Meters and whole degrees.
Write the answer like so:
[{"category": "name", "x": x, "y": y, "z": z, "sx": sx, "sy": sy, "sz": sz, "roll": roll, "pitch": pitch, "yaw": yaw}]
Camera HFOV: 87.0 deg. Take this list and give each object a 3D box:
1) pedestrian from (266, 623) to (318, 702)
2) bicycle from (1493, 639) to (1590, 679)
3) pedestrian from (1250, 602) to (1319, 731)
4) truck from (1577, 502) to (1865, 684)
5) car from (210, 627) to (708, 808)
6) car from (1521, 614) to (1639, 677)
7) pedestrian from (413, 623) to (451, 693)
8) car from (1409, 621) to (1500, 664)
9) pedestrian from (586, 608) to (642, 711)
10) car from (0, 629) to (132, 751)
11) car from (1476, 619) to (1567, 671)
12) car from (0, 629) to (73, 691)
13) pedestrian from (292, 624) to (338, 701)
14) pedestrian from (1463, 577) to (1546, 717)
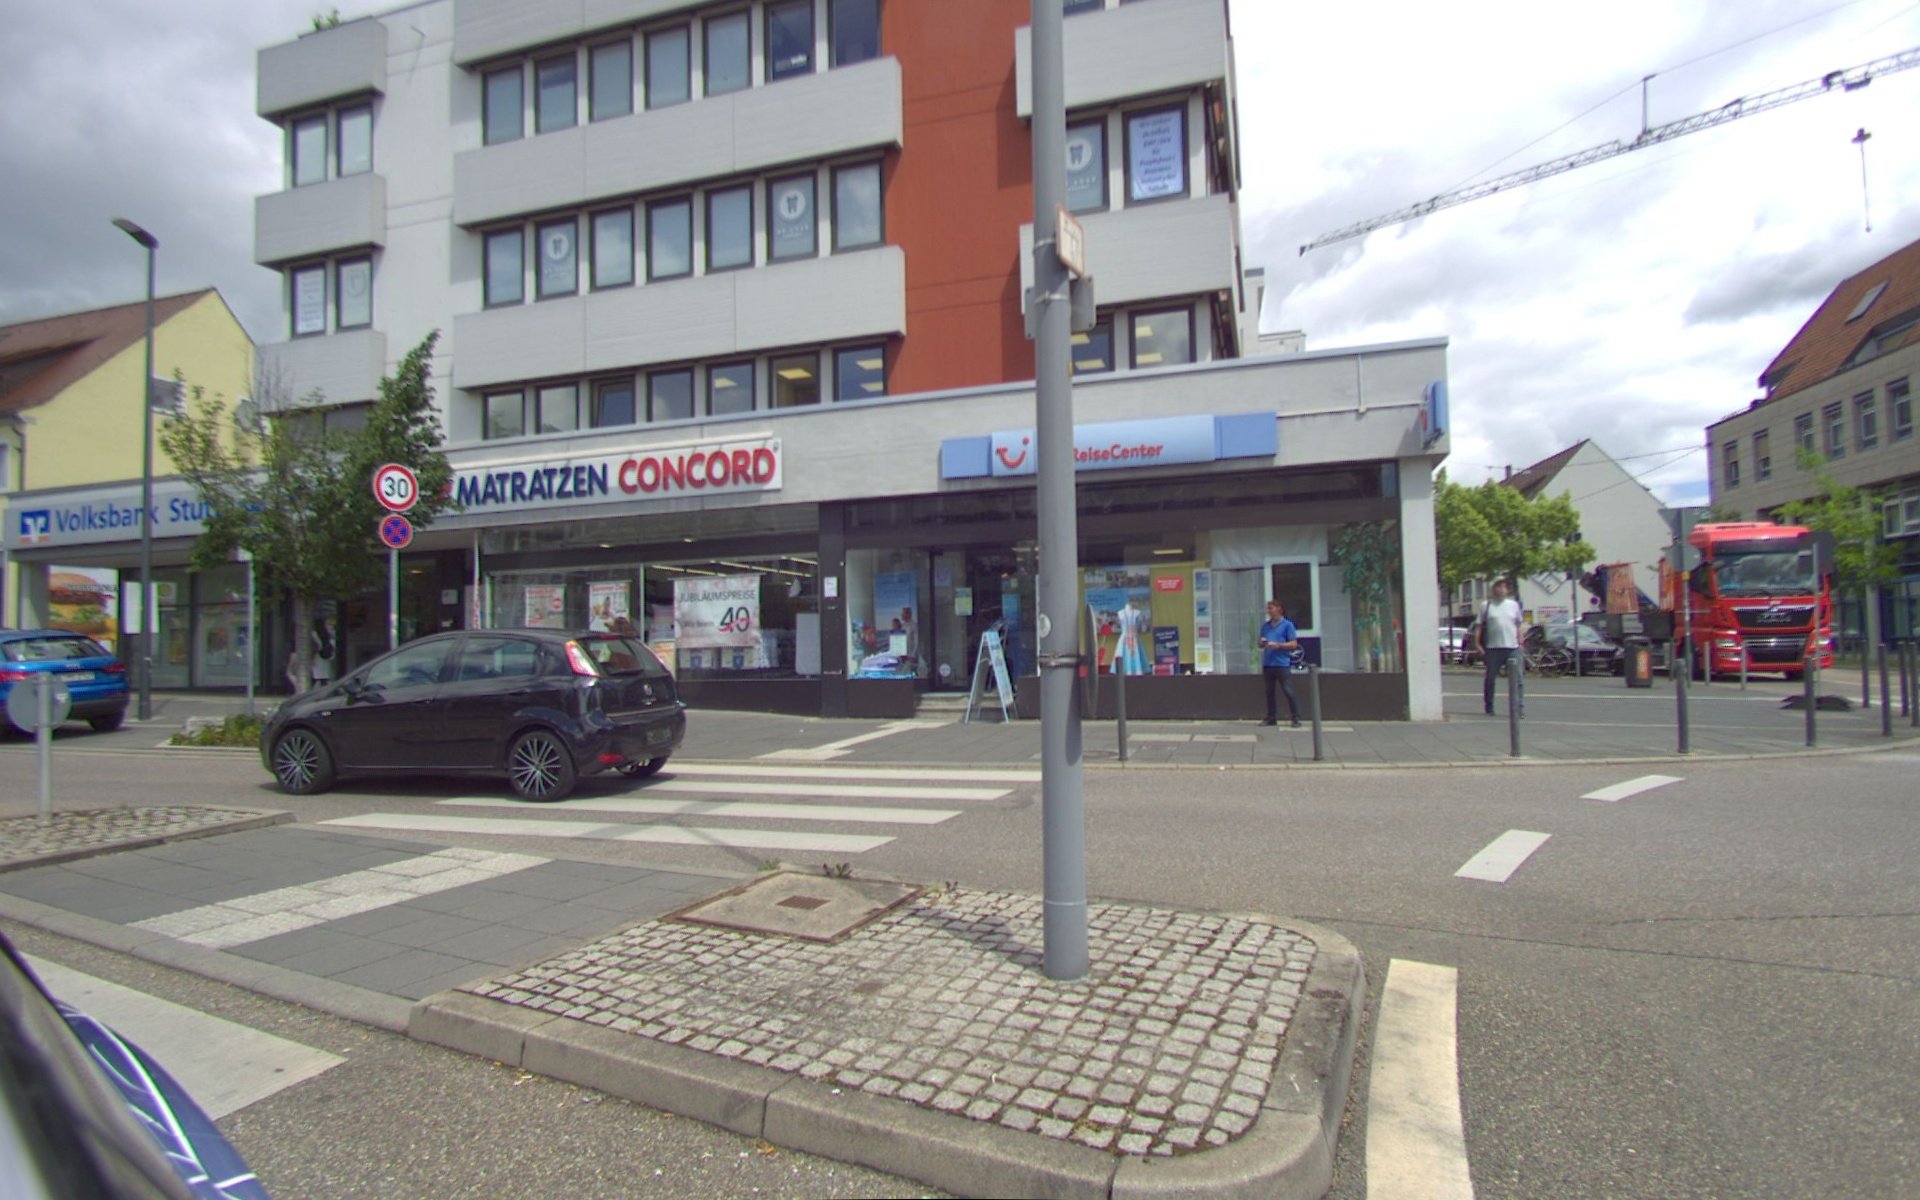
[{"category": "pedestrian", "x": -13.550, "y": 1.265, "z": 20.524, "sx": 0.584, "sy": 1.578, "sz": 0.638, "roll": -2, "pitch": -4, "yaw": 31}, {"category": "bicycle", "x": 14.629, "y": 1.483, "z": 25.503, "sx": 2.050, "sy": 0.953, "sz": 0.518, "roll": 0, "pitch": -2, "yaw": 20}, {"category": "pedestrian", "x": 4.217, "y": 0.848, "z": 13.171, "sx": 0.596, "sy": 1.616, "sz": 0.570, "roll": 1, "pitch": -3, "yaw": -36}, {"category": "truck", "x": 20.274, "y": -0.010, "z": 28.015, "sx": 2.942, "sy": 4.058, "sz": 10.534, "roll": 0, "pitch": -2, "yaw": 17}, {"category": "car", "x": -4.597, "y": 0.971, "z": 9.443, "sx": 4.080, "sy": 1.430, "sz": 1.696, "roll": 0, "pitch": -1, "yaw": 15}, {"category": "car", "x": 17.106, "y": 1.213, "z": 28.153, "sx": 1.849, "sy": 1.593, "sz": 4.348, "roll": 0, "pitch": -2, "yaw": 19}, {"category": "pedestrian", "x": -13.356, "y": 1.470, "z": 25.634, "sx": 0.580, "sy": 1.718, "sz": 0.643, "roll": -2, "pitch": -4, "yaw": 9}, {"category": "car", "x": 19.528, "y": 1.647, "z": 40.184, "sx": 1.841, "sy": 1.578, "sz": 4.367, "roll": 0, "pitch": -1, "yaw": 6}, {"category": "pedestrian", "x": -5.477, "y": 0.932, "z": 16.036, "sx": 0.633, "sy": 1.600, "sz": 0.585, "roll": -1, "pitch": -2, "yaw": 17}, {"category": "car", "x": -14.851, "y": 1.274, "z": 15.354, "sx": 4.301, "sy": 1.611, "sz": 1.688, "roll": -1, "pitch": 0, "yaw": 22}, {"category": "car", "x": 18.518, "y": 1.460, "z": 33.558, "sx": 1.849, "sy": 1.593, "sz": 4.348, "roll": 0, "pitch": -2, "yaw": 19}, {"category": "car", "x": -25.359, "y": 1.534, "z": 25.939, "sx": 1.654, "sy": 1.570, "sz": 3.618, "roll": 0, "pitch": -2, "yaw": 17}, {"category": "pedestrian", "x": -13.457, "y": 1.296, "z": 21.134, "sx": 0.582, "sy": 1.578, "sz": 0.508, "roll": -1, "pitch": -4, "yaw": 20}, {"category": "pedestrian", "x": 7.549, "y": 0.645, "z": 14.058, "sx": 0.798, "sy": 1.889, "sz": 0.678, "roll": -1, "pitch": -2, "yaw": 12}]
